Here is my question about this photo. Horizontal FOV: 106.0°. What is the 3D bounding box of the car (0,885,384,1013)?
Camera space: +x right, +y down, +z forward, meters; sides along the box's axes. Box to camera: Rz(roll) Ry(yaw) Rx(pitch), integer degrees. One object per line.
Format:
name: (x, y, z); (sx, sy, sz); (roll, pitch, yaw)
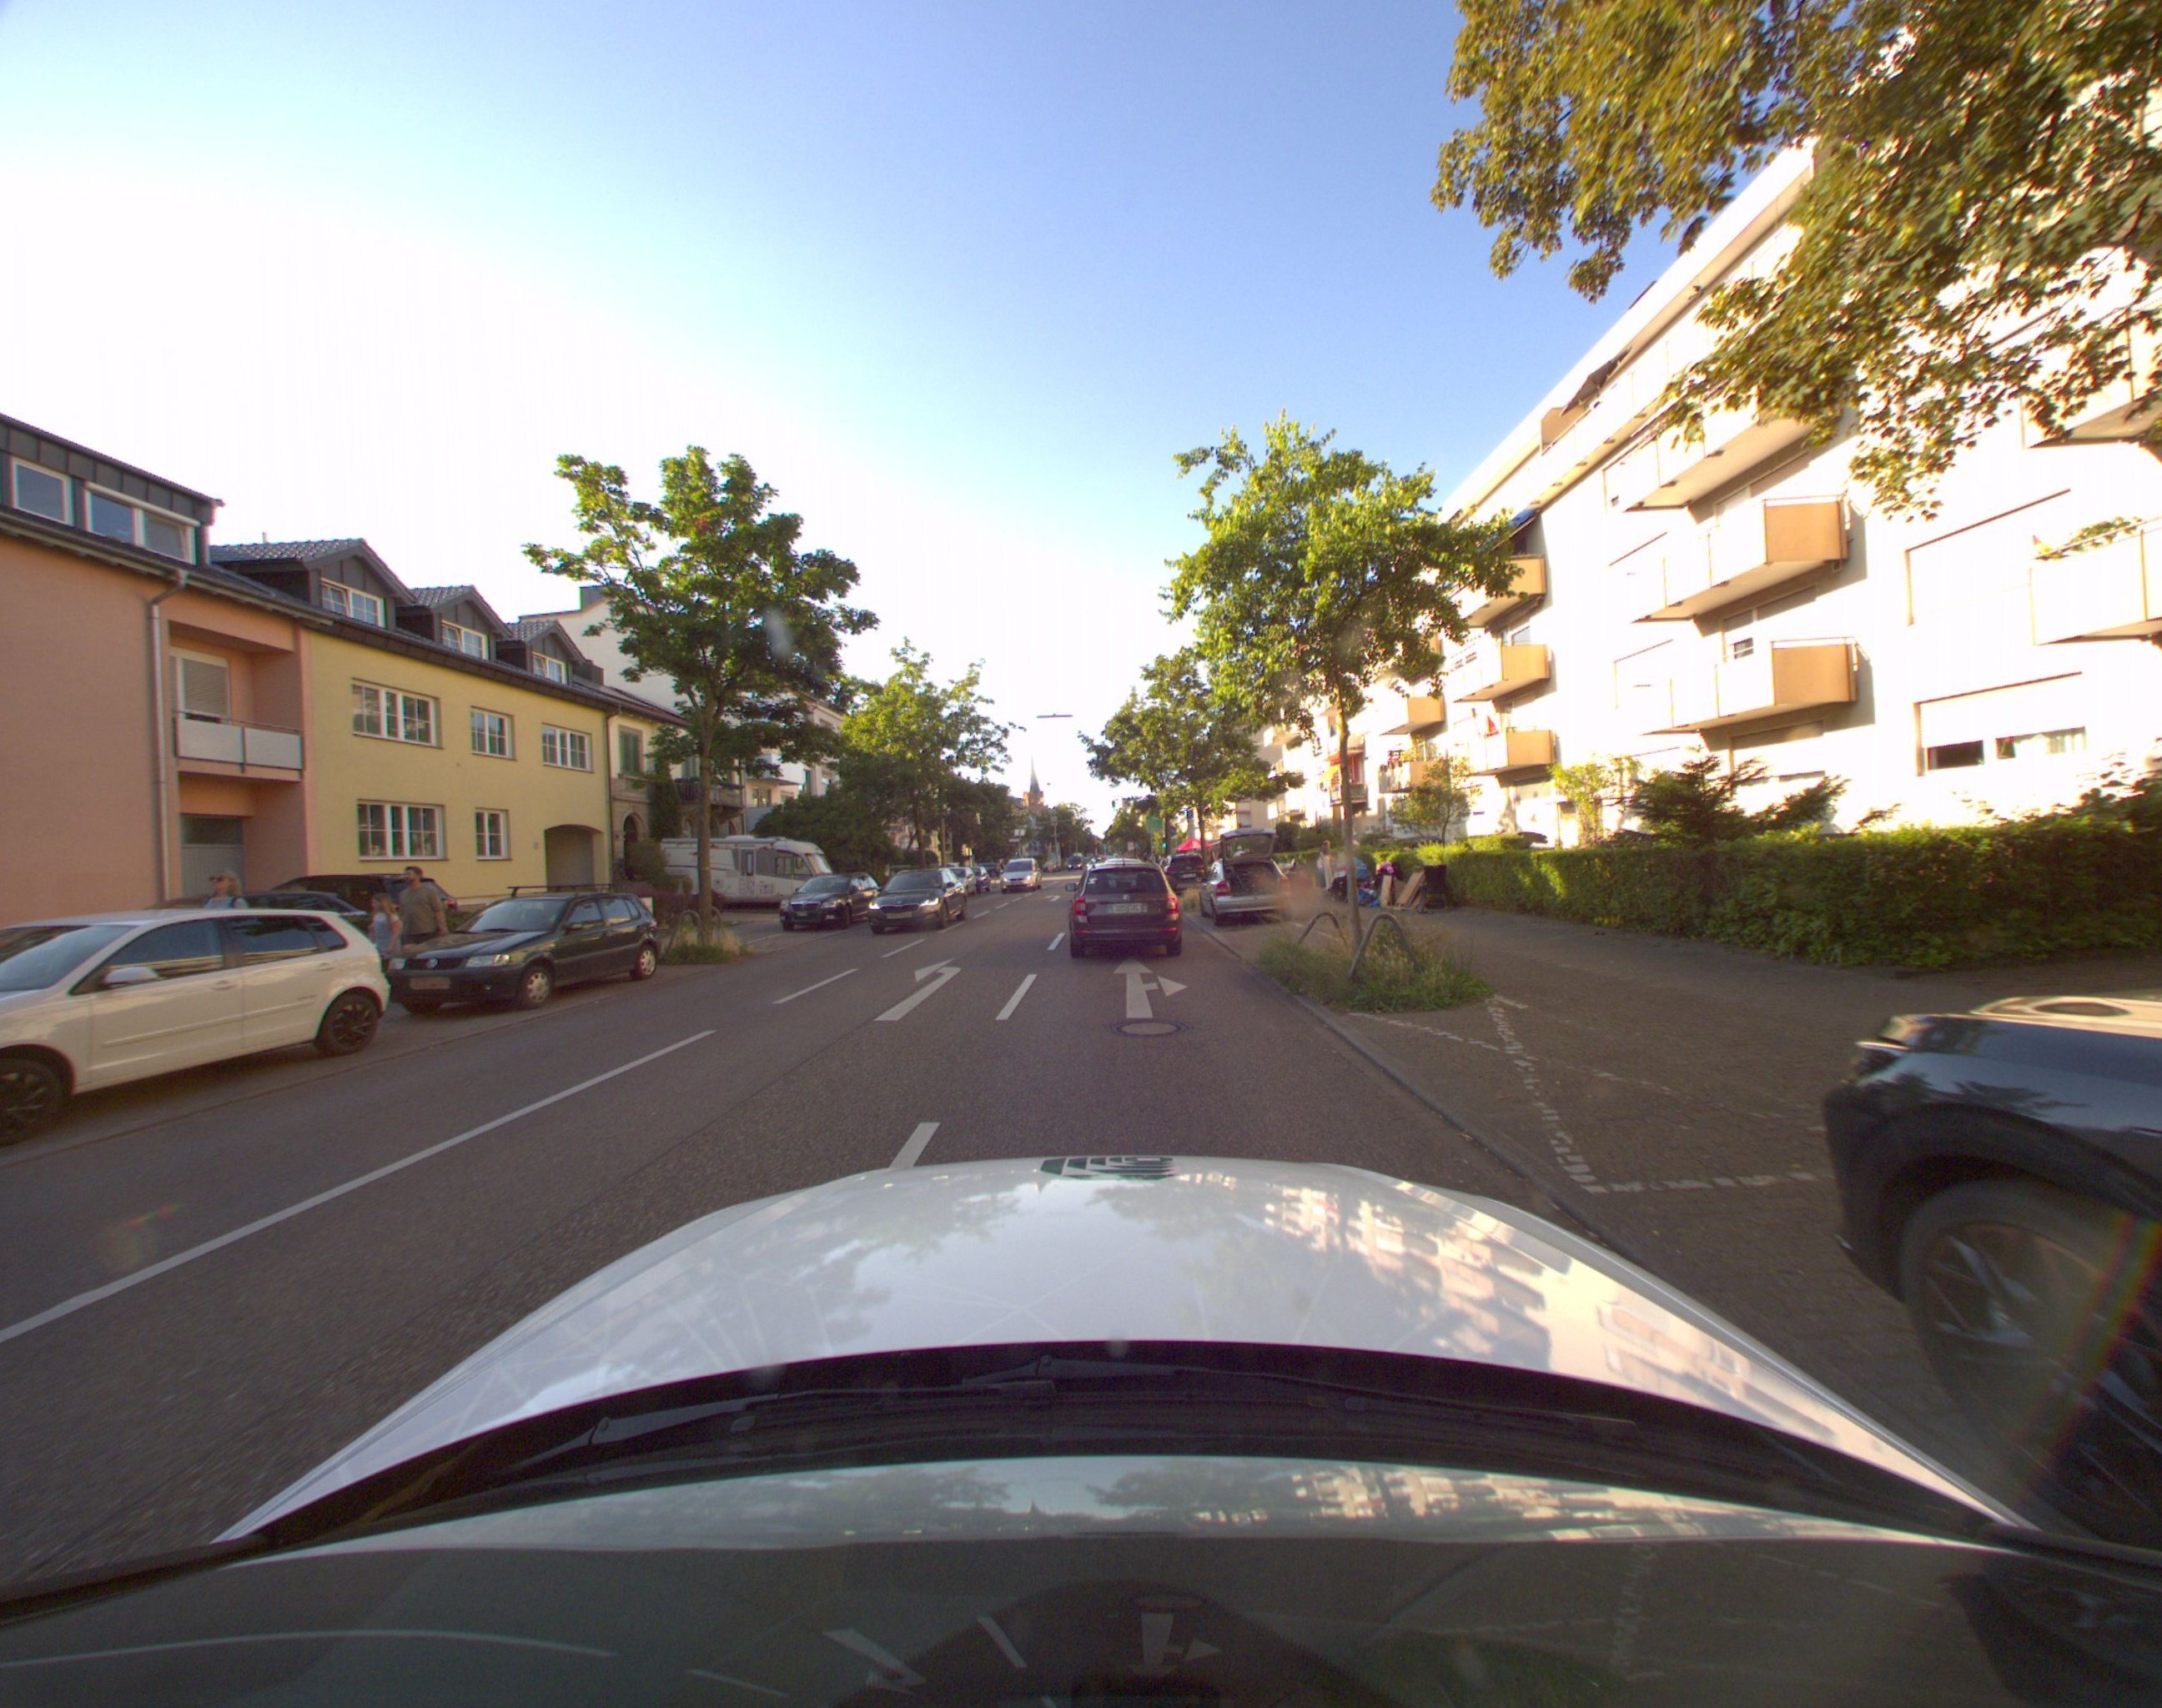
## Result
car: (-12.993, 1.280, 12.194); (1.657, 1.409, 3.756); (-4, 0, 3)

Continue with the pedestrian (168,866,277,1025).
pedestrian: (-10.123, 1.062, 9.617); (0.710, 1.792, 0.506); (-3, -1, 4)

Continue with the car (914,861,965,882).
car: (-13.954, 1.694, 80.517); (4.617, 1.812, 1.862); (-3, -1, 1)

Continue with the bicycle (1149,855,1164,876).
bicycle: (4.515, 0.689, 48.699); (0.501, 1.147, 1.956); (-5, -1, -4)

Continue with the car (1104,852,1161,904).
car: (1.697, 0.749, 27.189); (1.729, 1.571, 4.003); (-1, 0, 3)

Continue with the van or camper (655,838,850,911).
van or camper: (-12.965, 0.785, 32.498); (6.774, 2.773, 2.352); (0, -1, 1)

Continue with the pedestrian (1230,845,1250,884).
pedestrian: (7.257, 0.479, 37.161); (0.659, 1.749, 0.773); (-4, -1, 4)

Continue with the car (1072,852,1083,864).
car: (-0.779, 0.922, 178.866); (1.986, 2.478, 4.002); (-3, -1, 2)

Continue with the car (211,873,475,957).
car: (-15.565, 1.258, 17.329); (3.970, 1.636, 1.867); (-1, 0, 3)

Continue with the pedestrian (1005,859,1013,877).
pedestrian: (-7.374, 1.442, 83.320); (0.613, 1.797, 0.504); (-3, -1, 2)

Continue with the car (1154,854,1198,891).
car: (4.236, 0.805, 36.821); (1.696, 1.450, 4.018); (-4, 0, 4)

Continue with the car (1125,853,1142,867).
car: (6.872, 0.754, 106.285); (1.984, 1.772, 4.005); (-1, 0, 5)

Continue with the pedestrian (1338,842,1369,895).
pedestrian: (8.063, 0.429, 24.088); (0.586, 1.540, 0.700); (-3, -1, 38)

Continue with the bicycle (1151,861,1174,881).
bicycle: (4.496, 0.935, 44.831); (0.613, 1.051, 1.583); (-3, -1, 28)

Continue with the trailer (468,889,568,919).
trailer: (-19.939, 1.753, 28.912); (2.395, 0.960, 1.628); (0, 0, 2)

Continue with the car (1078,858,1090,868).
car: (0.584, 1.509, 141.120); (1.823, 1.579, 4.002); (-3, 0, 2)

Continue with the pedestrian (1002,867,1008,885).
pedestrian: (-7.862, 2.250, 83.811); (0.447, 1.797, 0.504); (-3, -1, 2)

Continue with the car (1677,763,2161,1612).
car: (2.870, 0.551, 0.482); (1.849, 1.603, 4.313); (-5, 0, 2)

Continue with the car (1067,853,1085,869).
car: (-0.589, 0.933, 105.880); (1.986, 1.908, 4.965); (-5, 0, 2)

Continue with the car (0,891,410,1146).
car: (-7.780, 1.164, 6.456); (1.587, 1.523, 3.891); (-3, 0, 1)

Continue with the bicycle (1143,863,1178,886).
bicycle: (4.550, 1.158, 46.456); (1.824, 1.157, 0.685); (-5, -1, 8)

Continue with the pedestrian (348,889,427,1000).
pedestrian: (-9.800, 1.262, 11.526); (0.587, 1.496, 0.543); (-3, -1, 4)

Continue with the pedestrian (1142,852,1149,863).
pedestrian: (10.168, 0.493, 128.071); (0.668, 1.704, 0.806); (-3, -1, 28)

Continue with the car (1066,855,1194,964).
car: (0.748, 0.798, 13.643); (1.766, 1.489, 4.312); (-2, 0, 2)

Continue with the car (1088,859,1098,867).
car: (2.540, 1.809, 169.680); (1.780, 1.571, 4.003); (-1, 0, 3)

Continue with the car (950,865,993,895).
car: (-5.943, 1.374, 44.558); (1.642, 1.517, 4.076); (-1, 0, 2)

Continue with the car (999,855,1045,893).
car: (-3.080, 1.012, 43.464); (1.799, 1.804, 4.747); (-4, -1, 2)

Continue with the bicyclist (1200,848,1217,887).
bicyclist: (5.973, 0.615, 38.174); (0.579, 1.789, 0.852); (-2, -1, 2)

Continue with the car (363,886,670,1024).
car: (-7.434, 1.239, 11.220); (1.537, 1.396, 3.667); (-3, 0, 2)

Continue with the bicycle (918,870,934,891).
bicycle: (-7.980, 1.358, 41.976); (0.484, 1.064, 1.534); (-3, -1, 1)

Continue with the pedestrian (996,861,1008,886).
pedestrian: (-6.357, 1.552, 65.544); (0.777, 1.987, 0.821); (-3, -1, 2)

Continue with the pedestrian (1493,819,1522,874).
pedestrian: (12.841, -0.221, 24.519); (0.475, 1.640, 0.533); (-3, -1, -17)

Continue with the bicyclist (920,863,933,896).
bicyclist: (-7.989, 1.325, 42.048); (0.467, 1.663, 0.552); (-3, -1, 1)

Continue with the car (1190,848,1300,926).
car: (3.655, 0.693, 18.888); (1.702, 1.480, 4.270); (-5, 0, 2)

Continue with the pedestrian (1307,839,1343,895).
pedestrian: (7.411, 0.391, 24.706); (0.748, 1.640, 0.700); (-3, -1, 38)

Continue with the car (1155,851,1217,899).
car: (3.959, 0.755, 31.302); (1.849, 1.581, 4.015); (-4, 0, 2)

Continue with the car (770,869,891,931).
car: (-6.940, 1.230, 23.113); (1.860, 1.494, 4.520); (-1, 0, 2)

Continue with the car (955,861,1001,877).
car: (-10.914, 1.607, 86.436); (4.617, 1.535, 1.862); (-2, -1, 1)

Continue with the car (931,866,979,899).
car: (-6.124, 1.373, 39.930); (1.587, 1.470, 3.805); (-1, 0, 2)

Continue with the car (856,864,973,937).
car: (-4.048, 1.084, 20.615); (1.754, 1.452, 4.536); (-5, 0, 2)

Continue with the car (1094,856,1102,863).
car: (5.027, 1.552, 238.108); (1.986, 2.013, 4.002); (-3, 0, 2)

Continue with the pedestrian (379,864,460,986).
pedestrian: (-10.123, 1.069, 12.480); (0.710, 1.792, 0.572); (-3, -1, 4)

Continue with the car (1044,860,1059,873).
car: (-3.684, 1.560, 102.295); (1.517, 1.457, 3.587); (-3, 0, 2)
